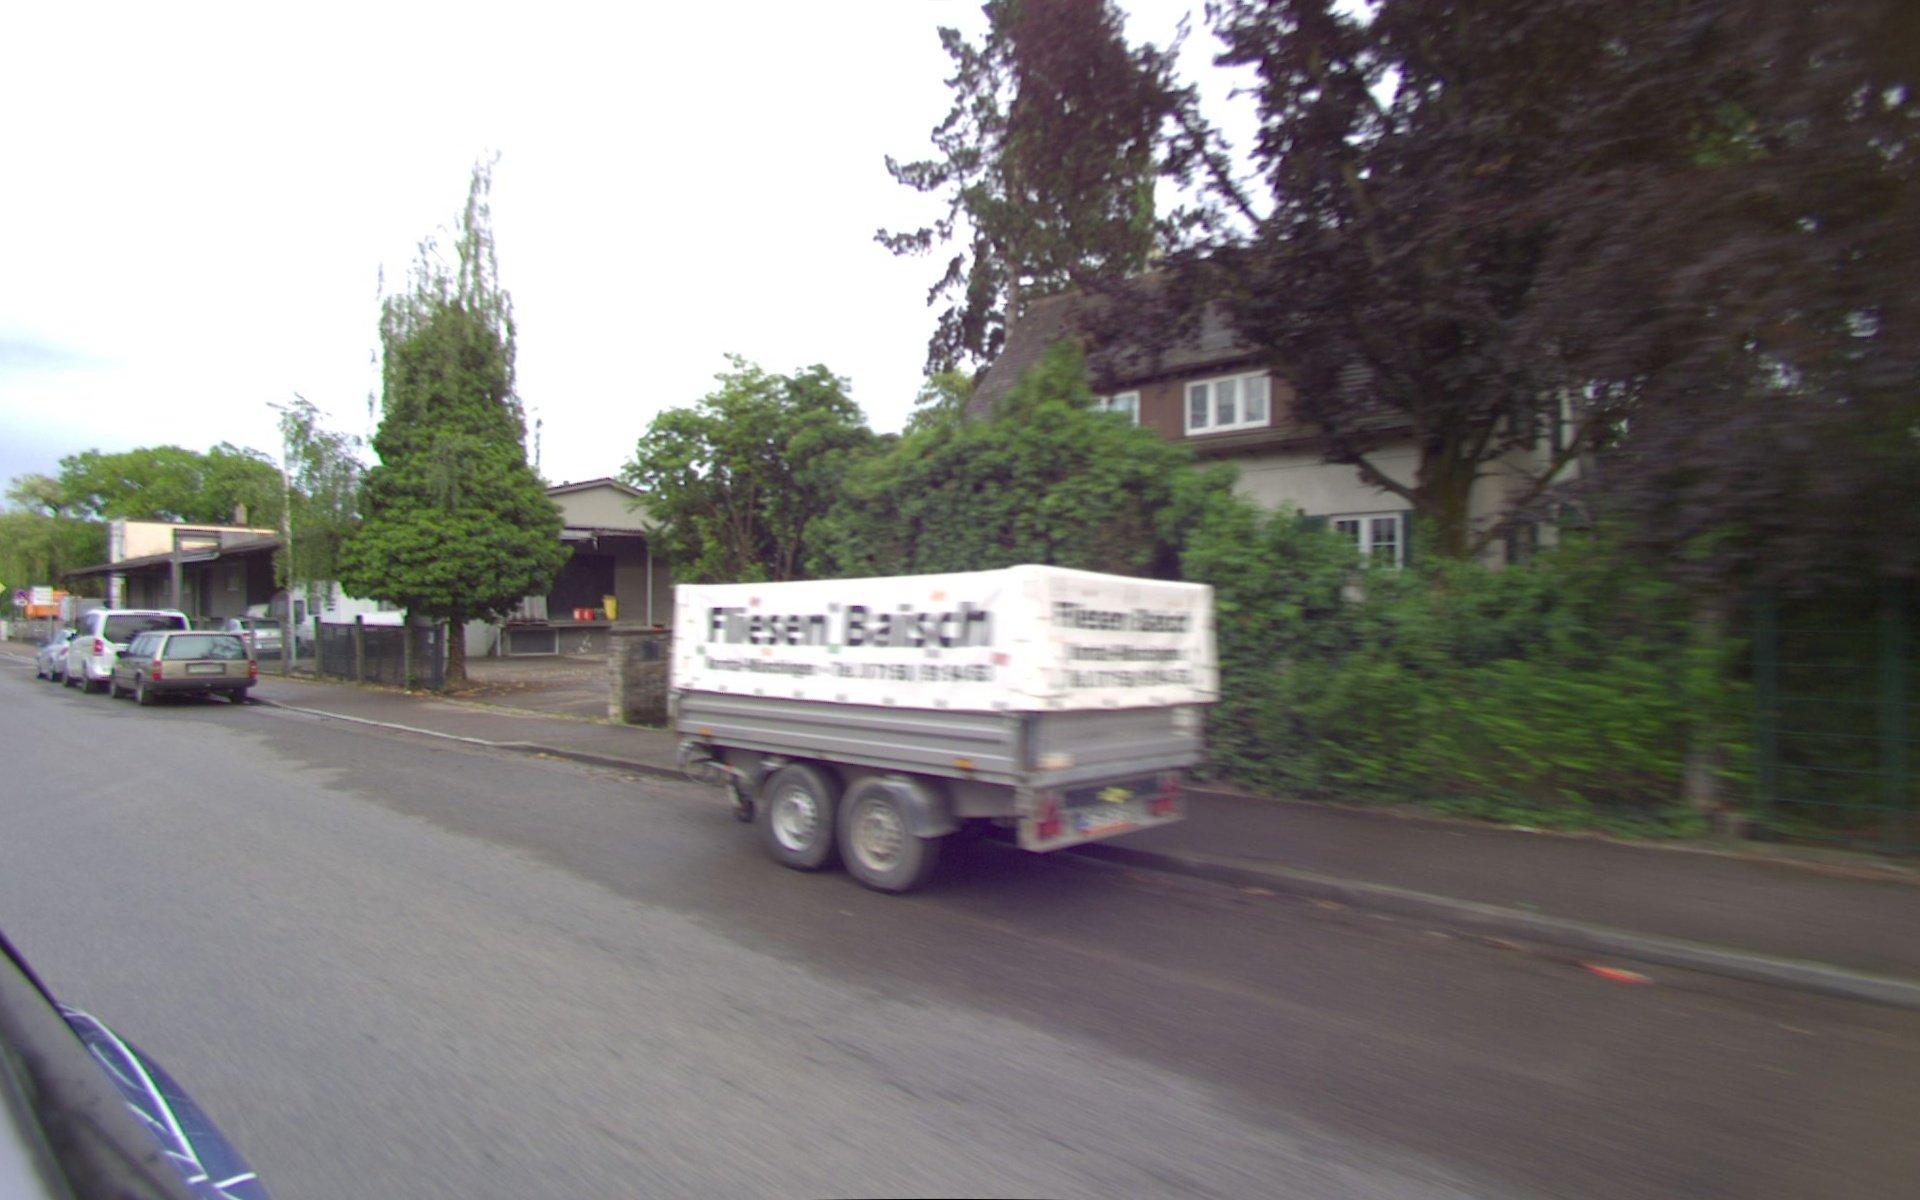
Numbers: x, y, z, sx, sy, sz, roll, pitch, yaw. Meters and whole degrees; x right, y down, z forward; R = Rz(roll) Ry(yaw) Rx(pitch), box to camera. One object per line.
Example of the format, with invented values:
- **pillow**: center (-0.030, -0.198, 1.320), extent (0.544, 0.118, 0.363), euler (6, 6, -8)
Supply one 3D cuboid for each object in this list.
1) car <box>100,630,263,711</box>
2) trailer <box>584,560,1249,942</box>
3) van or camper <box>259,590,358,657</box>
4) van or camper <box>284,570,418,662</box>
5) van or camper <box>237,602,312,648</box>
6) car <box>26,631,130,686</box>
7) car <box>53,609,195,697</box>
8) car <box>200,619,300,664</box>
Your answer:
- **car**: center (-16.039, 1.358, 20.745), extent (4.980, 1.438, 1.797), euler (-1, -2, 42)
- **trailer**: center (-0.572, 0.733, 6.961), extent (4.547, 1.779, 1.909), euler (-1, -1, 42)
- **van or camper**: center (-26.187, 0.906, 40.598), extent (5.195, 2.509, 1.973), euler (-1, 0, 41)
- **van or camper**: center (-21.888, 0.547, 36.239), extent (6.148, 3.058, 2.279), euler (-1, 0, 41)
- **van or camper**: center (-30.917, 1.084, 45.597), extent (4.374, 1.950, 1.901), euler (-1, 0, 44)
- **car**: center (-24.732, 1.586, 28.328), extent (4.706, 1.375, 1.620), euler (-1, -2, 42)
- **car**: center (-20.129, 1.199, 24.272), extent (5.209, 1.906, 1.873), euler (-1, -2, 42)
- **car**: center (-25.271, 1.434, 35.964), extent (4.786, 1.451, 1.810), euler (-1, 0, 41)
